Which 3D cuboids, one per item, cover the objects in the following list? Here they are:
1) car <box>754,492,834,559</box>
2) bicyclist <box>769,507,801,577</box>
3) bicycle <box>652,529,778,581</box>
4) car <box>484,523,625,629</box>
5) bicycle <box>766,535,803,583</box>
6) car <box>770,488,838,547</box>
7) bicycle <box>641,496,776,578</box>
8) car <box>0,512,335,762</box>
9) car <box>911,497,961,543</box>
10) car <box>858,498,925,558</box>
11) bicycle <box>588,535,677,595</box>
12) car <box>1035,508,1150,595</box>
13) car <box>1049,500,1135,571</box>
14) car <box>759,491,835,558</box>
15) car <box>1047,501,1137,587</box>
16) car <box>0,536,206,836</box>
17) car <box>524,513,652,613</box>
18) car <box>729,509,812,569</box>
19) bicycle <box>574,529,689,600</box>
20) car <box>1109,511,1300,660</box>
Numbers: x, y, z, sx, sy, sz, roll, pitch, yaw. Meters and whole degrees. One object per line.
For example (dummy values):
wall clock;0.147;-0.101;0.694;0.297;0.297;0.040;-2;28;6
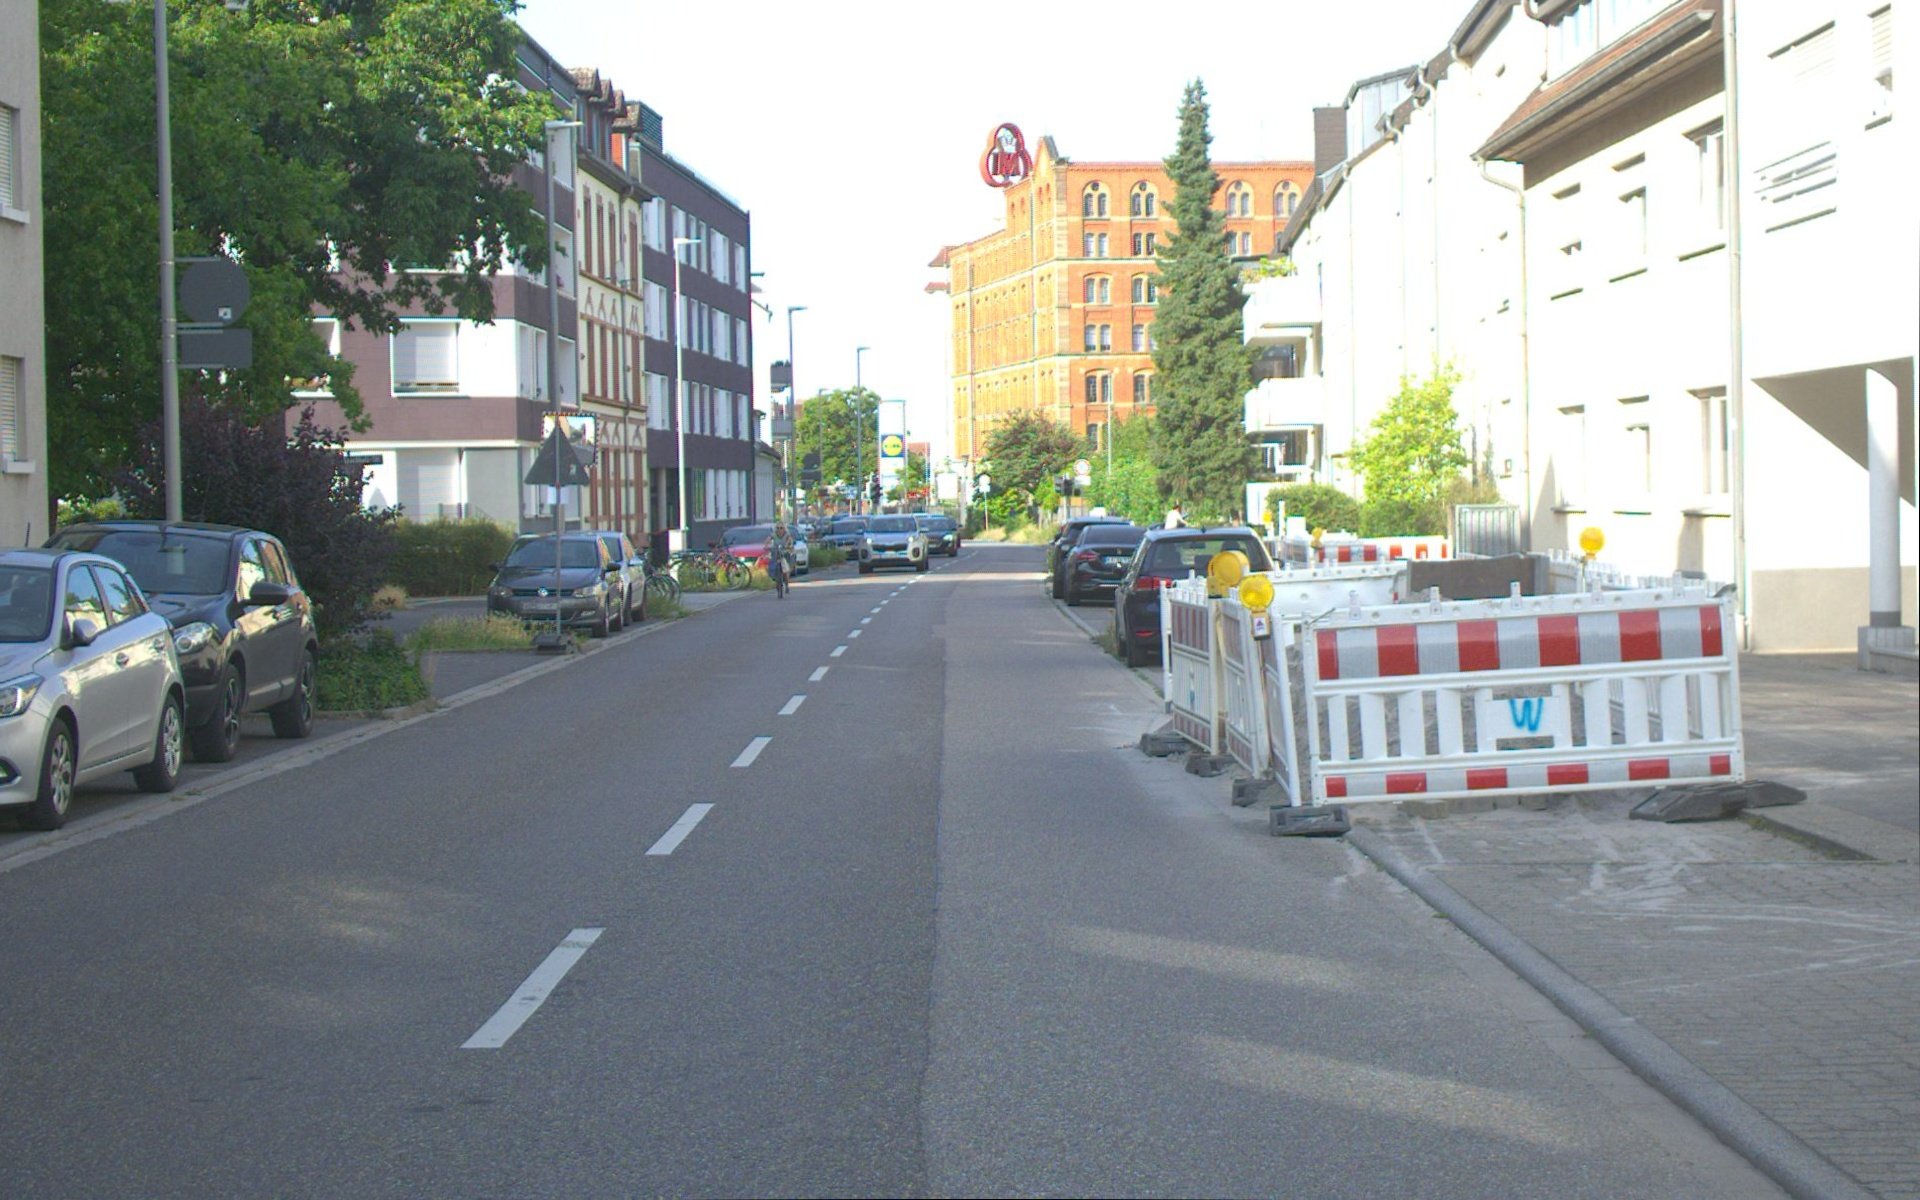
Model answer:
car;-4.729;-2.147;98.092;1.993;1.829;3.689;-1;2;1
bicyclist;-3.598;-1.197;70.675;0.591;1.437;0.750;-1;1;1
bicycle;-5.648;-1.043;79.404;2.773;1.140;1.143;-1;1;1
car;-5.729;-0.376;48.951;1.573;1.415;3.804;0;2;0
bicycle;-3.596;-0.853;70.653;0.608;0.939;1.811;-1;2;1
car;-5.133;-2.743;113.741;1.993;1.875;4.000;-1;2;1
bicycle;-5.666;-1.424;77.622;2.918;1.771;1.202;-1;1;1
car;-5.657;0.184;24.350;1.686;1.597;4.370;0;2;0
car;-0.854;-2.928;125.883;1.763;1.610;4.000;-2;2;0
car;-1.918;-2.055;97.539;1.763;1.610;4.000;-2;2;0
bicycle;-5.940;-0.637;62.392;1.584;1.037;0.708;-1;2;-5
car;2.359;-0.897;62.057;1.859;1.467;4.000;-1;2;0
car;3.026;-1.502;79.286;1.763;1.521;4.000;-2;2;0
car;-4.860;-2.276;103.210;1.993;1.905;3.689;-1;2;1
car;2.559;-1.114;67.355;1.601;1.640;3.685;0;2;0
car;-5.487;0.394;19.225;1.686;1.449;4.141;0;2;-1
car;-5.907;-0.620;54.948;1.676;1.496;4.001;-1;2;-1
car;-4.796;-1.562;87.282;1.840;1.459;3.585;-1;2;1
bicycle;-5.806;-0.635;60.800;2.000;1.213;0.708;-1;2;-5
car;2.628;-0.196;37.673;1.830;1.477;3.943;-2;2;1
